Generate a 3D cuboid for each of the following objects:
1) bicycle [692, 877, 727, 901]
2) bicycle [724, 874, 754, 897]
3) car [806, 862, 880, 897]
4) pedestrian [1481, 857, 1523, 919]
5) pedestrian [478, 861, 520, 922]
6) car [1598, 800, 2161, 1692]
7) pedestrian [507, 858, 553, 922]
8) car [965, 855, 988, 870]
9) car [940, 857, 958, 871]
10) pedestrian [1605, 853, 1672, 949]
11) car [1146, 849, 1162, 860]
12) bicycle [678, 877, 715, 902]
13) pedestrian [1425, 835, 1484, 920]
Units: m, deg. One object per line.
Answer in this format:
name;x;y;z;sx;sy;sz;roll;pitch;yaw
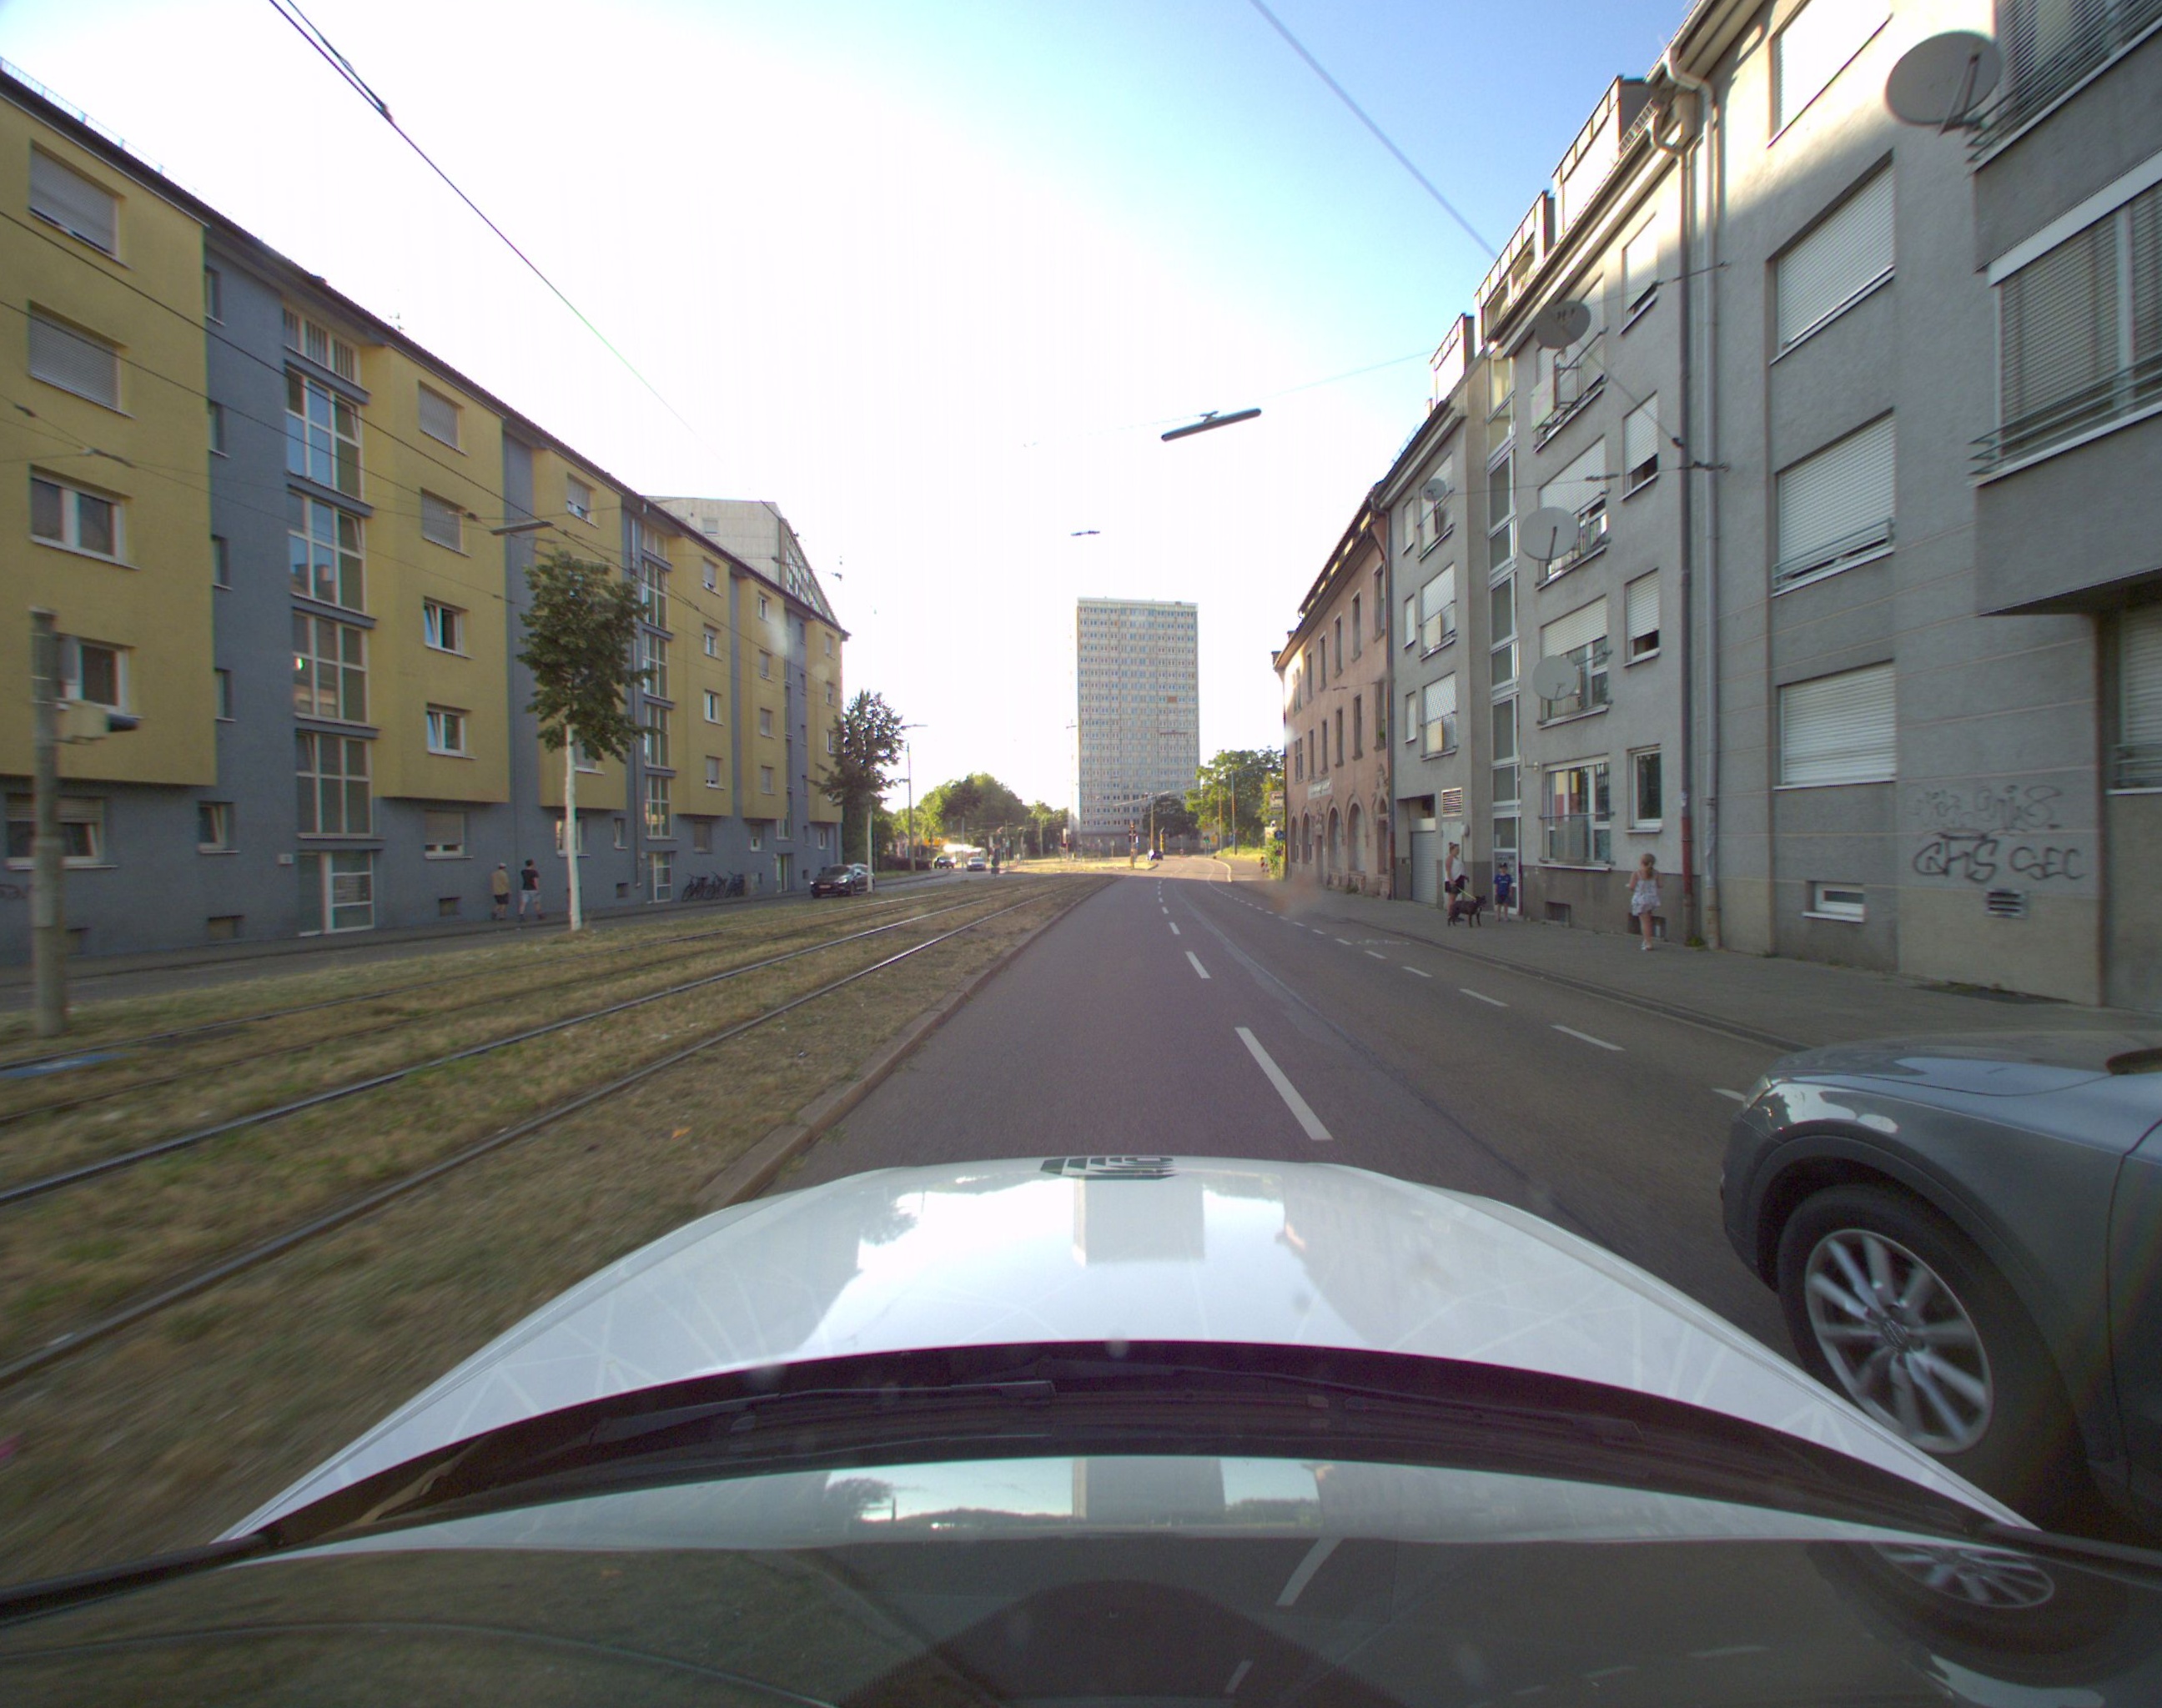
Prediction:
bicycle;-15.913;1.485;34.940;0.425;0.925;1.915;2;0;5
bicycle;-15.679;1.438;37.384;0.425;0.960;1.915;-1;0;5
car;-11.194;1.160;38.595;1.786;1.469;4.799;-3;-1;3
pedestrian;8.878;0.708;17.189;0.584;1.251;0.585;-2;0;4
pedestrian;-16.776;1.071;23.485;0.613;1.694;0.707;3;0;4
car;2.789;0.688;0.967;1.761;1.587;4.067;-1;1;0
pedestrian;-16.009;1.033;23.680;0.590;1.773;0.886;3;0;4
car;-11.318;0.912;88.499;1.691;1.460;4.317;-3;0;2
car;-17.641;1.322;108.714;1.921;1.662;4.685;-2;1;-15
pedestrian;8.138;0.676;11.914;0.512;1.344;0.609;-2;-1;0
car;10.179;0.010;113.069;1.767;1.422;3.854;-2;0;-1
bicycle;-15.876;1.459;33.660;0.425;0.925;1.915;2;0;5
pedestrian;8.056;0.488;17.593;0.826;1.771;0.997;-2;0;4
